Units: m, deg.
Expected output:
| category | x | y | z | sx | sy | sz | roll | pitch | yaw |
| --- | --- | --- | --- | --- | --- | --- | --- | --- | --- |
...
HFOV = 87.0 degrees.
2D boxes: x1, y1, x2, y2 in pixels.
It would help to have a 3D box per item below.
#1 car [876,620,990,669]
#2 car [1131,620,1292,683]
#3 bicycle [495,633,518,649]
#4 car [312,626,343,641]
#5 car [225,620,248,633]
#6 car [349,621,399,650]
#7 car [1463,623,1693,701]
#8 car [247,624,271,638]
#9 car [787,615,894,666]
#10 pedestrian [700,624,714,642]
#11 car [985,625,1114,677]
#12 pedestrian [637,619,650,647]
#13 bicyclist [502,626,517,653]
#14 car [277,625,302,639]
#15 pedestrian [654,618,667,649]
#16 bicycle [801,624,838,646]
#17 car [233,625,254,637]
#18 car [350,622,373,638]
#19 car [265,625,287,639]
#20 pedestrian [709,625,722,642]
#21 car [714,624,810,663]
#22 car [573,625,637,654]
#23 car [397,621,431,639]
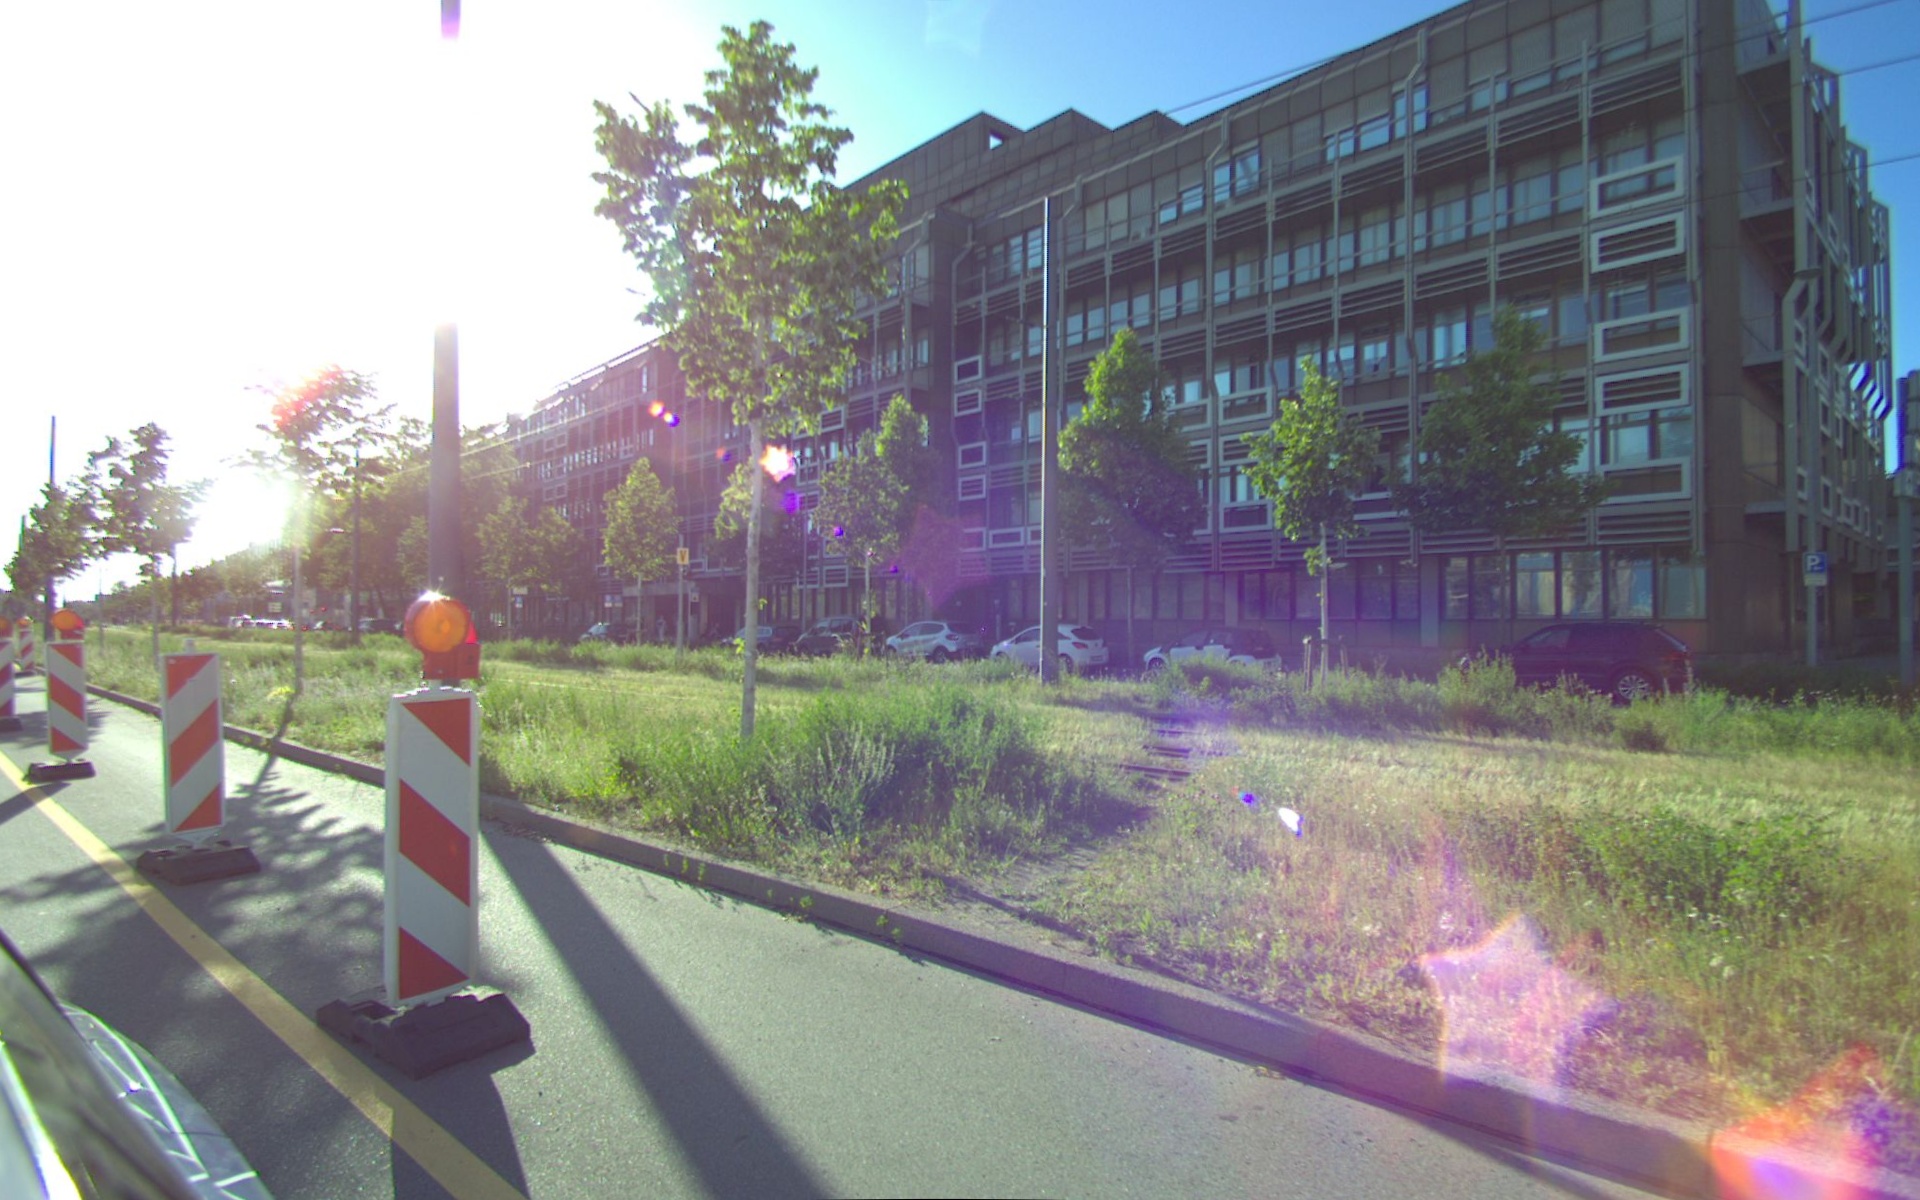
| category | x | y | z | sx | sy | sz | roll | pitch | yaw |
| --- | --- | --- | --- | --- | --- | --- | --- | --- | --- |
| car | -0.973 | 1.486 | 34.729 | 1.717 | 1.548 | 3.887 | 0 | -1 | -44 |
| car | 6.723 | 1.325 | 27.328 | 1.630 | 1.566 | 3.970 | 1 | -1 | -44 |
| bicycle | -25.348 | 2.303 | 56.532 | 0.558 | 0.884 | 1.772 | 2 | -3 | -45 |
| car | -60.877 | 3.190 | 97.352 | 1.696 | 1.397 | 4.042 | 1 | -2 | -44 |
| car | -89.407 | 3.271 | 124.993 | 1.838 | 1.694 | 3.784 | 2 | -2 | -42 |
| car | -36.945 | 2.183 | 63.747 | 4.122 | 1.760 | 1.708 | -1 | -1 | 44 |
| car | 12.998 | 1.240 | 21.422 | 3.899 | 1.472 | 1.712 | -1 | -1 | 42 |
| car | -75.387 | 3.327 | 108.824 | 1.608 | 1.507 | 3.784 | 2 | -2 | -42 |
| car | -4.584 | 1.519 | 38.363 | 1.730 | 1.785 | 4.334 | -1 | -1 | -44 |
| pedestrian | -14.788 | 1.929 | 59.079 | 0.609 | 0.993 | 0.499 | 2 | -2 | -41 |
| car | 2.695 | 1.501 | 30.977 | 1.606 | 1.452 | 3.822 | -1 | -1 | -44 |
| pedestrian | -18.081 | 1.911 | 57.820 | 0.514 | 1.590 | 0.537 | 2 | -2 | -40 |
| bicyclist | -25.025 | 2.175 | 56.207 | 0.706 | 1.468 | 0.558 | -2 | -3 | 45 |
| car | -73.319 | 3.493 | 110.711 | 1.608 | 1.507 | 4.422 | 2 | -2 | -42 |
| pedestrian | -17.239 | 1.928 | 58.273 | 0.514 | 1.735 | 0.537 | 2 | -2 | -40 |
| bicycle | -7.214 | 1.789 | 51.980 | 1.904 | 1.080 | 0.425 | 2 | -2 | -39 |
| car | -83.836 | 3.621 | 118.444 | 1.532 | 1.390 | 3.784 | 2 | -2 | -42 |
| car | -63.979 | 3.223 | 108.184 | 1.370 | 1.614 | 3.268 | -1 | 0 | -44 |
| car | -79.292 | 3.687 | 117.319 | 1.608 | 1.507 | 3.784 | 2 | -2 | -42 |
| pedestrian | -14.070 | 1.923 | 58.230 | 0.609 | 0.993 | 0.499 | 2 | -2 | -41 |
| car | -8.293 | 1.795 | 42.153 | 1.709 | 1.480 | 4.506 | -1 | -1 | -45 |
| car | -18.702 | 2.042 | 53.256 | 1.695 | 1.397 | 4.043 | 1 | 0 | -43 |
| car | -49.125 | 2.704 | 91.052 | 1.702 | 1.555 | 3.634 | -1 | 0 | -44 |
